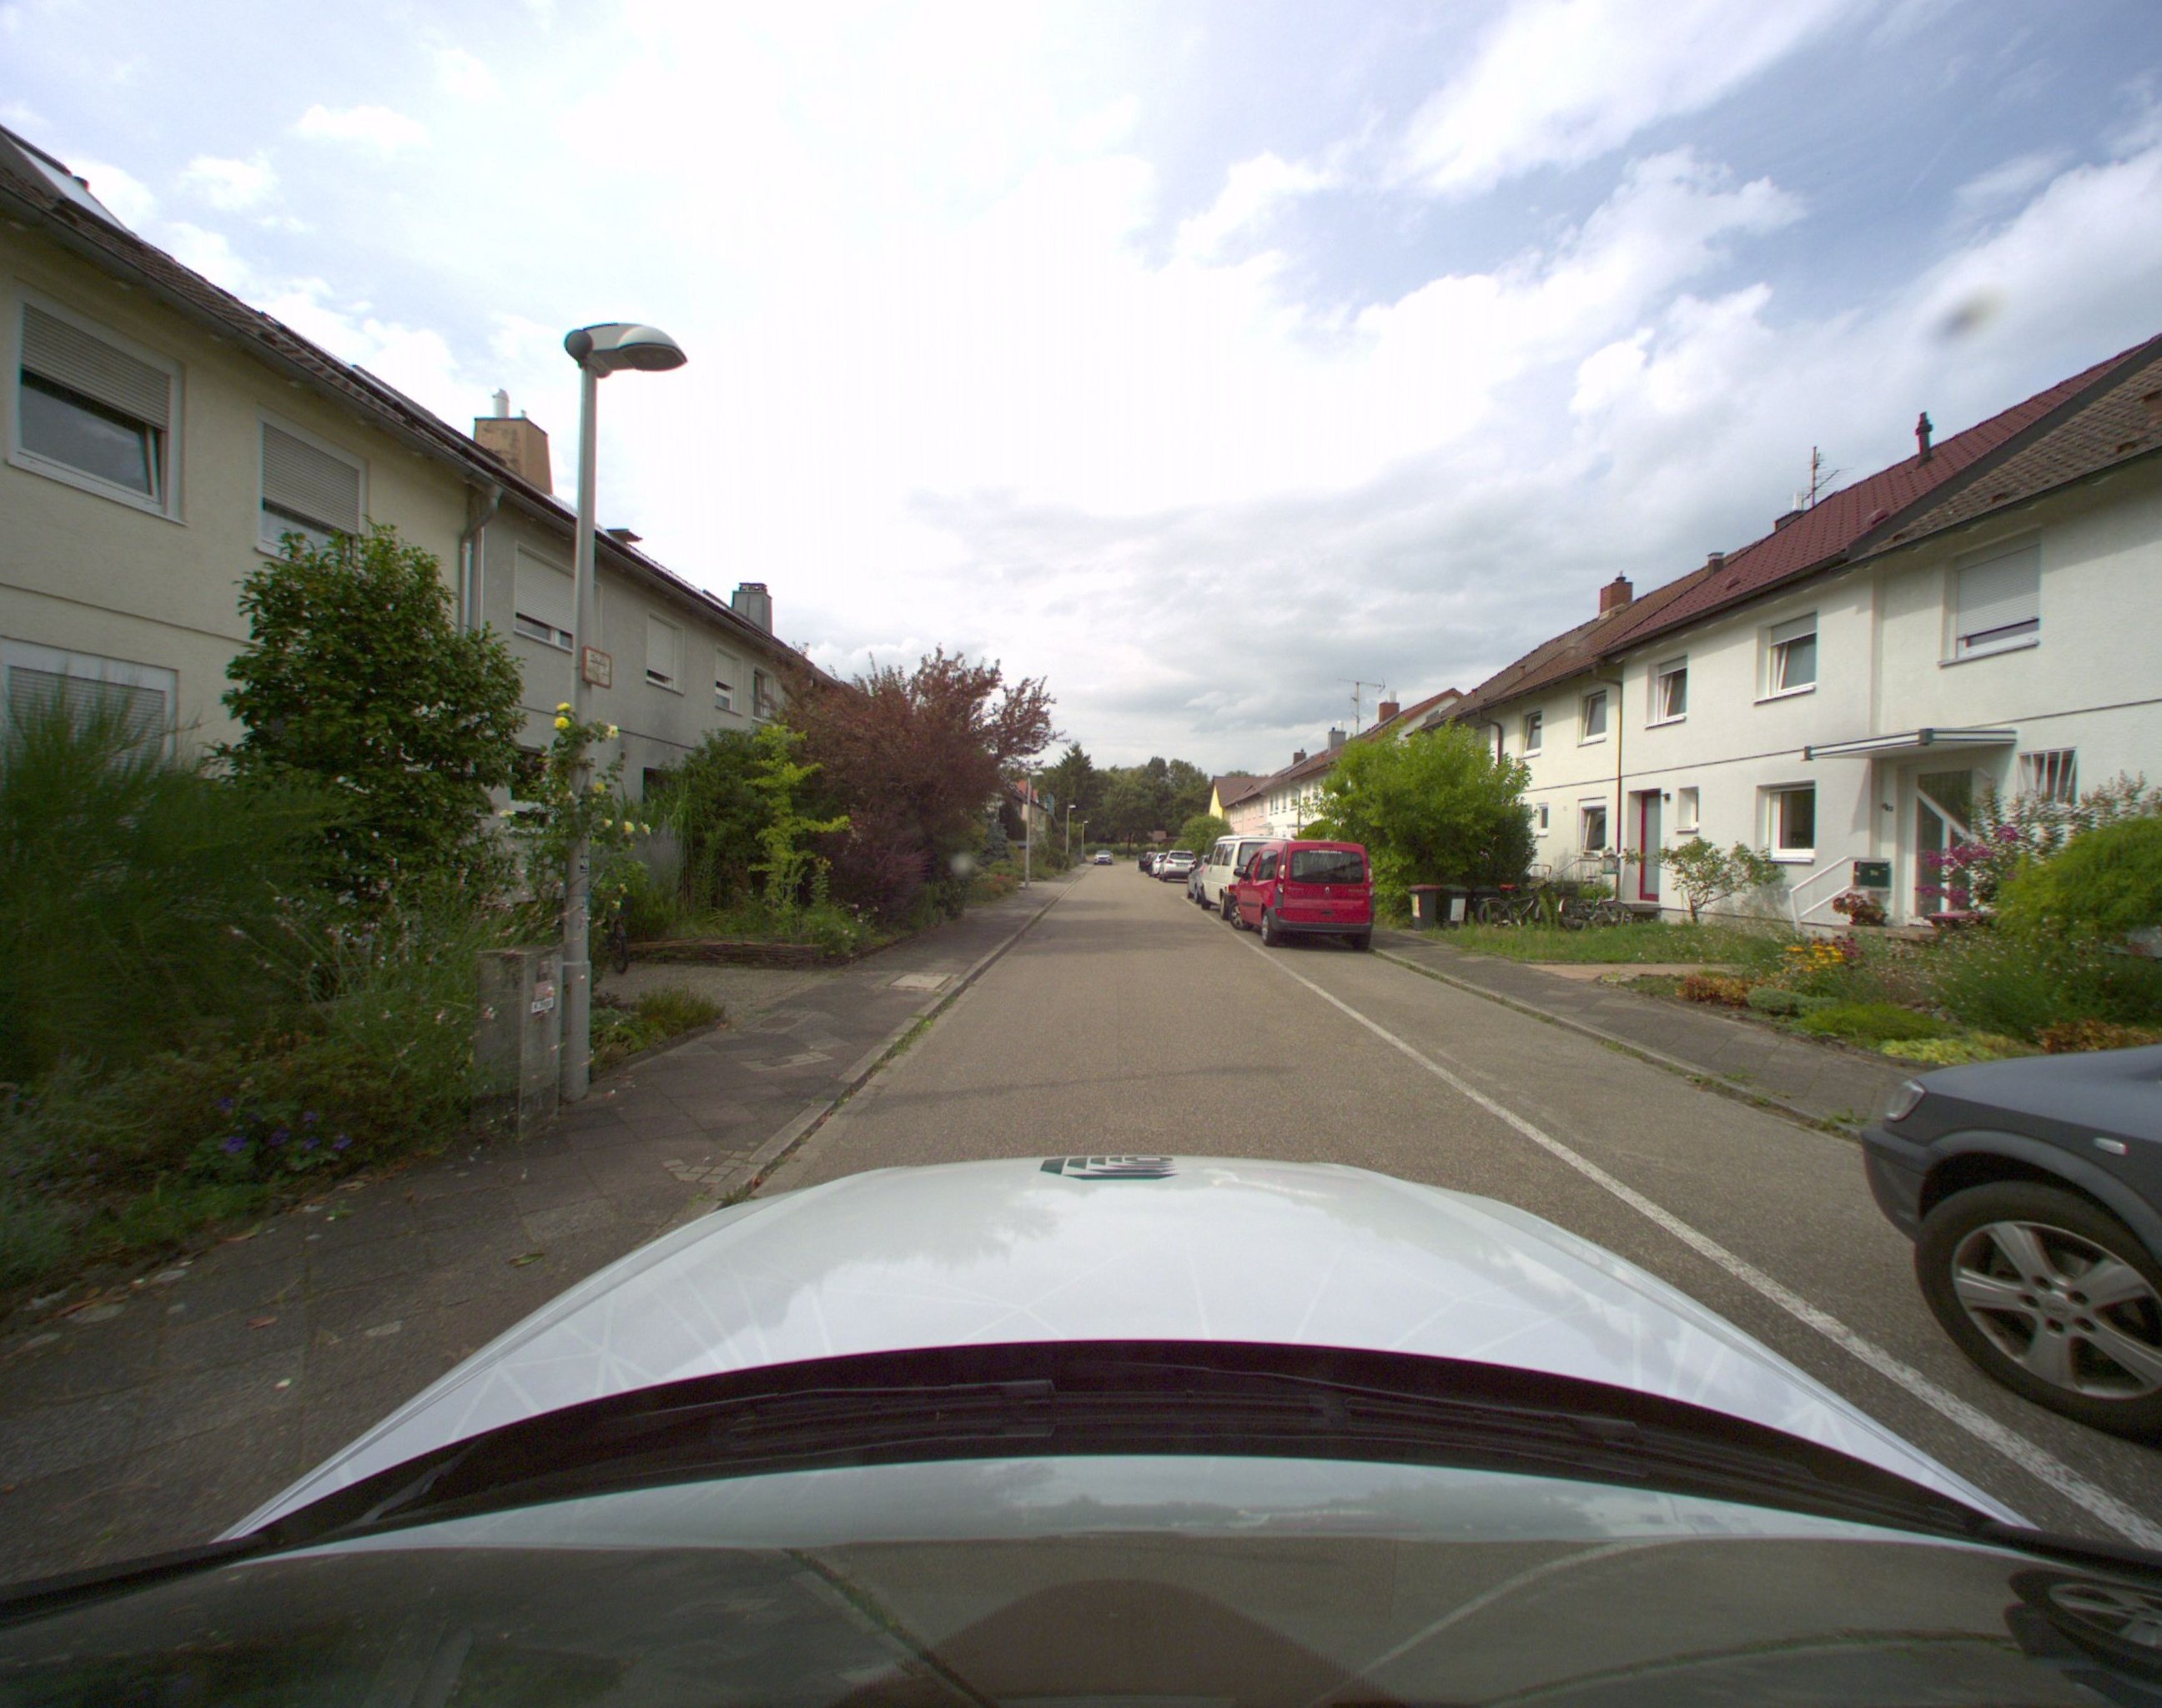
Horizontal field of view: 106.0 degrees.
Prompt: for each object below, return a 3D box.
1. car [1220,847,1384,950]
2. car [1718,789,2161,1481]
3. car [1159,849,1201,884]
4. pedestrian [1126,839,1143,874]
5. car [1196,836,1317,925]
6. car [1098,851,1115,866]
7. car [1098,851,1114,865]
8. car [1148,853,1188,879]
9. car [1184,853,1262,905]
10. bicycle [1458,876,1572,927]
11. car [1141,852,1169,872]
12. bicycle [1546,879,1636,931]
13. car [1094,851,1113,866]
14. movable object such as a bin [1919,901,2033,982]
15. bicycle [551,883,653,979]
[{"bbox_3d":[3.924,0.697,15.260,1.805,1.651,4.408,0,0,-1],"label":"car"},{"bbox_3d":[3.519,0.692,1.088,1.861,1.653,4.464,1,0,0],"label":"car"},{"bbox_3d":[4.817,0.568,40.200,1.707,1.543,3.976,2,0,2],"label":"car"},{"bbox_3d":[3.141,0.154,47.724,0.910,2.013,0.950,1,0,-2],"label":"pedestrian"},{"bbox_3d":[4.193,0.564,20.257,2.014,1.947,4.747,0,0,0],"label":"car"},{"bbox_3d":[2.798,0.452,90.221,1.803,1.562,4.850,0,0,2],"label":"car"},{"bbox_3d":[2.915,0.434,95.682,1.784,1.531,4.143,0,0,3],"label":"car"},{"bbox_3d":[5.001,0.648,47.463,1.832,1.413,4.636,0,0,0],"label":"car"},{"bbox_3d":[4.328,0.708,25.362,1.893,1.459,4.132,0,0,3],"label":"car"},{"bbox_3d":[8.176,0.888,15.368,1.871,0.908,0.560,0,0,-1],"label":"bicycle"},{"bbox_3d":[5.755,0.615,63.805,1.859,1.417,4.252,1,0,0],"label":"car"},{"bbox_3d":[9.453,0.926,15.093,1.596,0.865,0.739,0,0,-29],"label":"bicycle"},{"bbox_3d":[2.380,0.434,84.829,1.926,1.556,4.638,0,0,3],"label":"car"},{"bbox_3d":[10.189,0.982,9.291,0.686,0.850,0.550,1,0,3],"label":"movable object such as a bin"},{"bbox_3d":[-5.389,0.820,9.117,1.682,0.892,0.532,2,1,43],"label":"bicycle"}]
